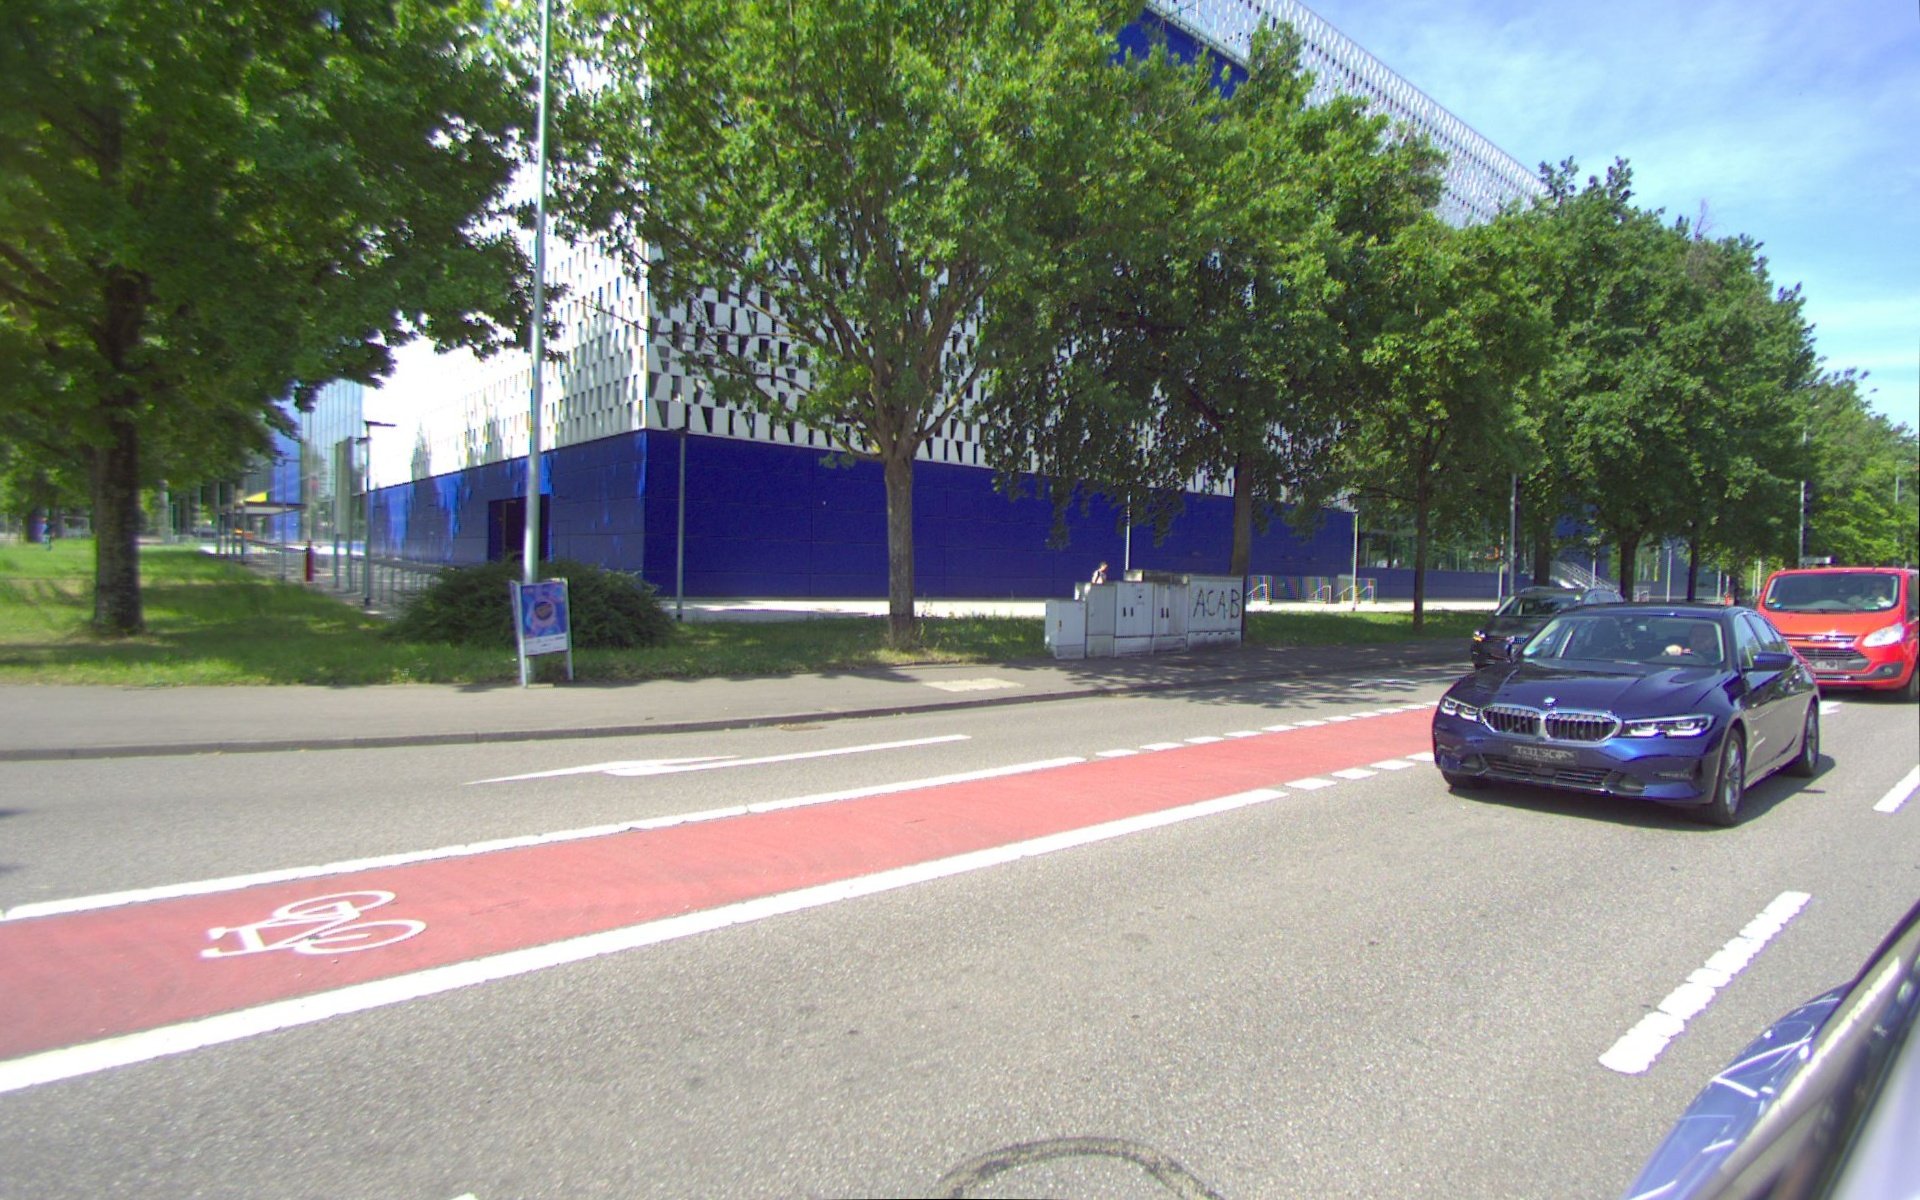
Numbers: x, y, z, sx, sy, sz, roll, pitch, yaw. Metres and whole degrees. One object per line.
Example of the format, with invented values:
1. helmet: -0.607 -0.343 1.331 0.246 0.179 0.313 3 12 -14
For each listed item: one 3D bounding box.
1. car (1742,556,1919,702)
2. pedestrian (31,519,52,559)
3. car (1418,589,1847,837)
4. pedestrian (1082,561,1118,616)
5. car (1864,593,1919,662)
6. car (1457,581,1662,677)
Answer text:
1. car: 13.875 0.371 15.635 4.727 1.931 2.012 0 0 -42
2. pedestrian: -47.629 -3.136 52.491 0.597 2.039 0.673 -1 0 36
3. car: 5.556 0.643 8.104 4.460 1.447 1.798 0 1 -42
4. pedestrian: 4.077 -0.354 29.449 0.767 1.565 0.680 0 2 -41
5. car: 21.511 0.570 22.542 3.849 1.440 1.690 0 1 -43
6. car: 11.756 0.467 19.751 4.310 1.676 1.999 -1 1 -37
